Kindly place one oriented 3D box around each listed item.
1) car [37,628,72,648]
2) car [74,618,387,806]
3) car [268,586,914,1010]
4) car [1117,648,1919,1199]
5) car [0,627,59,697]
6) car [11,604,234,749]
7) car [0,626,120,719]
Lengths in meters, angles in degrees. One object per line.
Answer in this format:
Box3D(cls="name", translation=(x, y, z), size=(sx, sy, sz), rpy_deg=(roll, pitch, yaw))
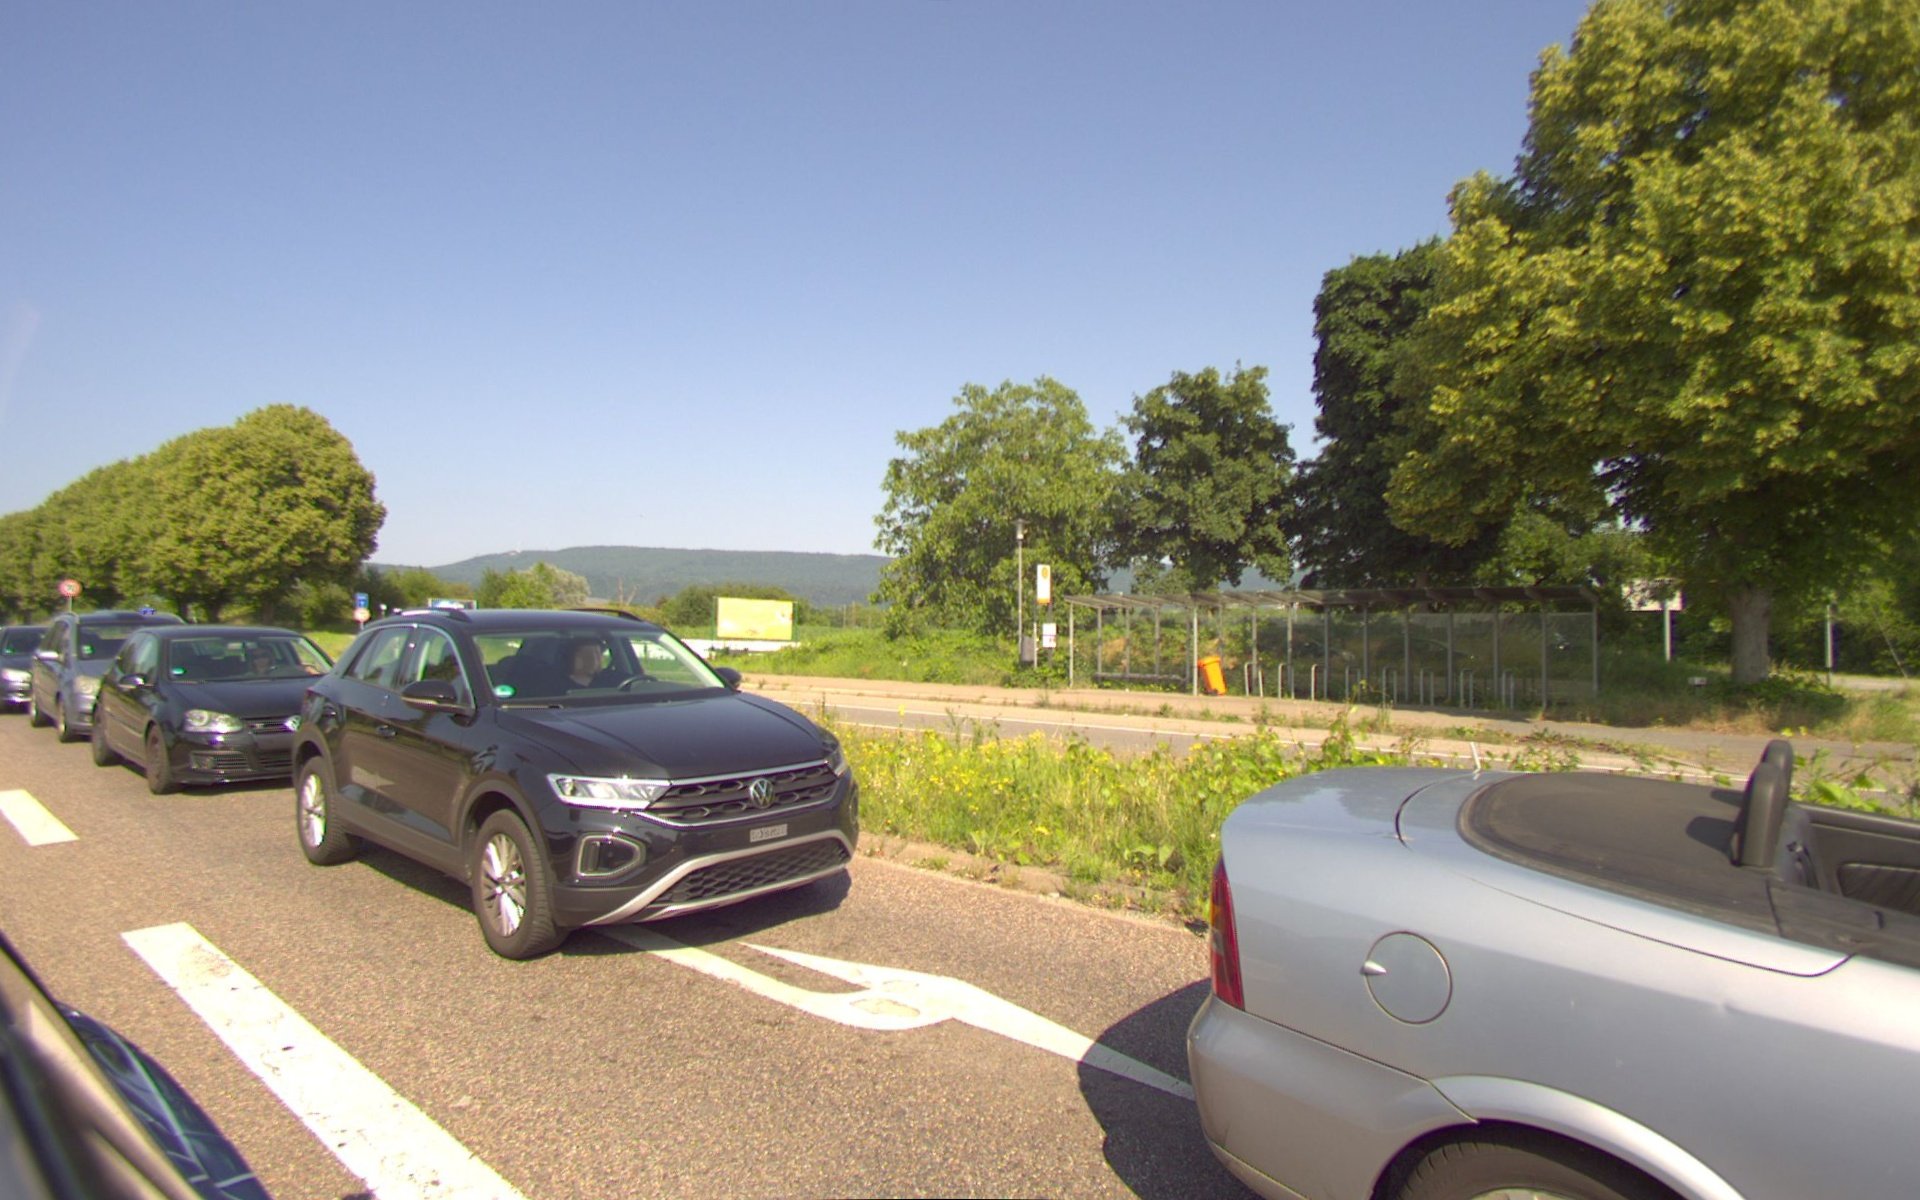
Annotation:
Box3D(cls="car", translation=(-75.311, 3.130, 84.144), size=(3.773, 1.452, 1.599), rpy_deg=(-1, 2, 40))
Box3D(cls="car", translation=(-7.330, 0.943, 10.016), size=(4.096, 1.486, 1.648), rpy_deg=(-2, -2, 42))
Box3D(cls="car", translation=(-2.321, 0.785, 5.752), size=(4.096, 1.559, 1.710), rpy_deg=(-2, -2, 42))
Box3D(cls="car", translation=(2.405, 0.772, 1.405), size=(4.096, 1.345, 1.656), rpy_deg=(-1, -3, 42))
Box3D(cls="car", translation=(-21.436, 1.316, 22.315), size=(4.639, 1.436, 1.784), rpy_deg=(-1, -1, 41))
Box3D(cls="car", translation=(-11.607, 0.946, 13.927), size=(4.355, 1.685, 1.723), rpy_deg=(-2, -2, 42))
Box3D(cls="car", translation=(-16.203, 1.189, 17.695), size=(4.353, 1.421, 1.696), rpy_deg=(-2, -1, 42))
